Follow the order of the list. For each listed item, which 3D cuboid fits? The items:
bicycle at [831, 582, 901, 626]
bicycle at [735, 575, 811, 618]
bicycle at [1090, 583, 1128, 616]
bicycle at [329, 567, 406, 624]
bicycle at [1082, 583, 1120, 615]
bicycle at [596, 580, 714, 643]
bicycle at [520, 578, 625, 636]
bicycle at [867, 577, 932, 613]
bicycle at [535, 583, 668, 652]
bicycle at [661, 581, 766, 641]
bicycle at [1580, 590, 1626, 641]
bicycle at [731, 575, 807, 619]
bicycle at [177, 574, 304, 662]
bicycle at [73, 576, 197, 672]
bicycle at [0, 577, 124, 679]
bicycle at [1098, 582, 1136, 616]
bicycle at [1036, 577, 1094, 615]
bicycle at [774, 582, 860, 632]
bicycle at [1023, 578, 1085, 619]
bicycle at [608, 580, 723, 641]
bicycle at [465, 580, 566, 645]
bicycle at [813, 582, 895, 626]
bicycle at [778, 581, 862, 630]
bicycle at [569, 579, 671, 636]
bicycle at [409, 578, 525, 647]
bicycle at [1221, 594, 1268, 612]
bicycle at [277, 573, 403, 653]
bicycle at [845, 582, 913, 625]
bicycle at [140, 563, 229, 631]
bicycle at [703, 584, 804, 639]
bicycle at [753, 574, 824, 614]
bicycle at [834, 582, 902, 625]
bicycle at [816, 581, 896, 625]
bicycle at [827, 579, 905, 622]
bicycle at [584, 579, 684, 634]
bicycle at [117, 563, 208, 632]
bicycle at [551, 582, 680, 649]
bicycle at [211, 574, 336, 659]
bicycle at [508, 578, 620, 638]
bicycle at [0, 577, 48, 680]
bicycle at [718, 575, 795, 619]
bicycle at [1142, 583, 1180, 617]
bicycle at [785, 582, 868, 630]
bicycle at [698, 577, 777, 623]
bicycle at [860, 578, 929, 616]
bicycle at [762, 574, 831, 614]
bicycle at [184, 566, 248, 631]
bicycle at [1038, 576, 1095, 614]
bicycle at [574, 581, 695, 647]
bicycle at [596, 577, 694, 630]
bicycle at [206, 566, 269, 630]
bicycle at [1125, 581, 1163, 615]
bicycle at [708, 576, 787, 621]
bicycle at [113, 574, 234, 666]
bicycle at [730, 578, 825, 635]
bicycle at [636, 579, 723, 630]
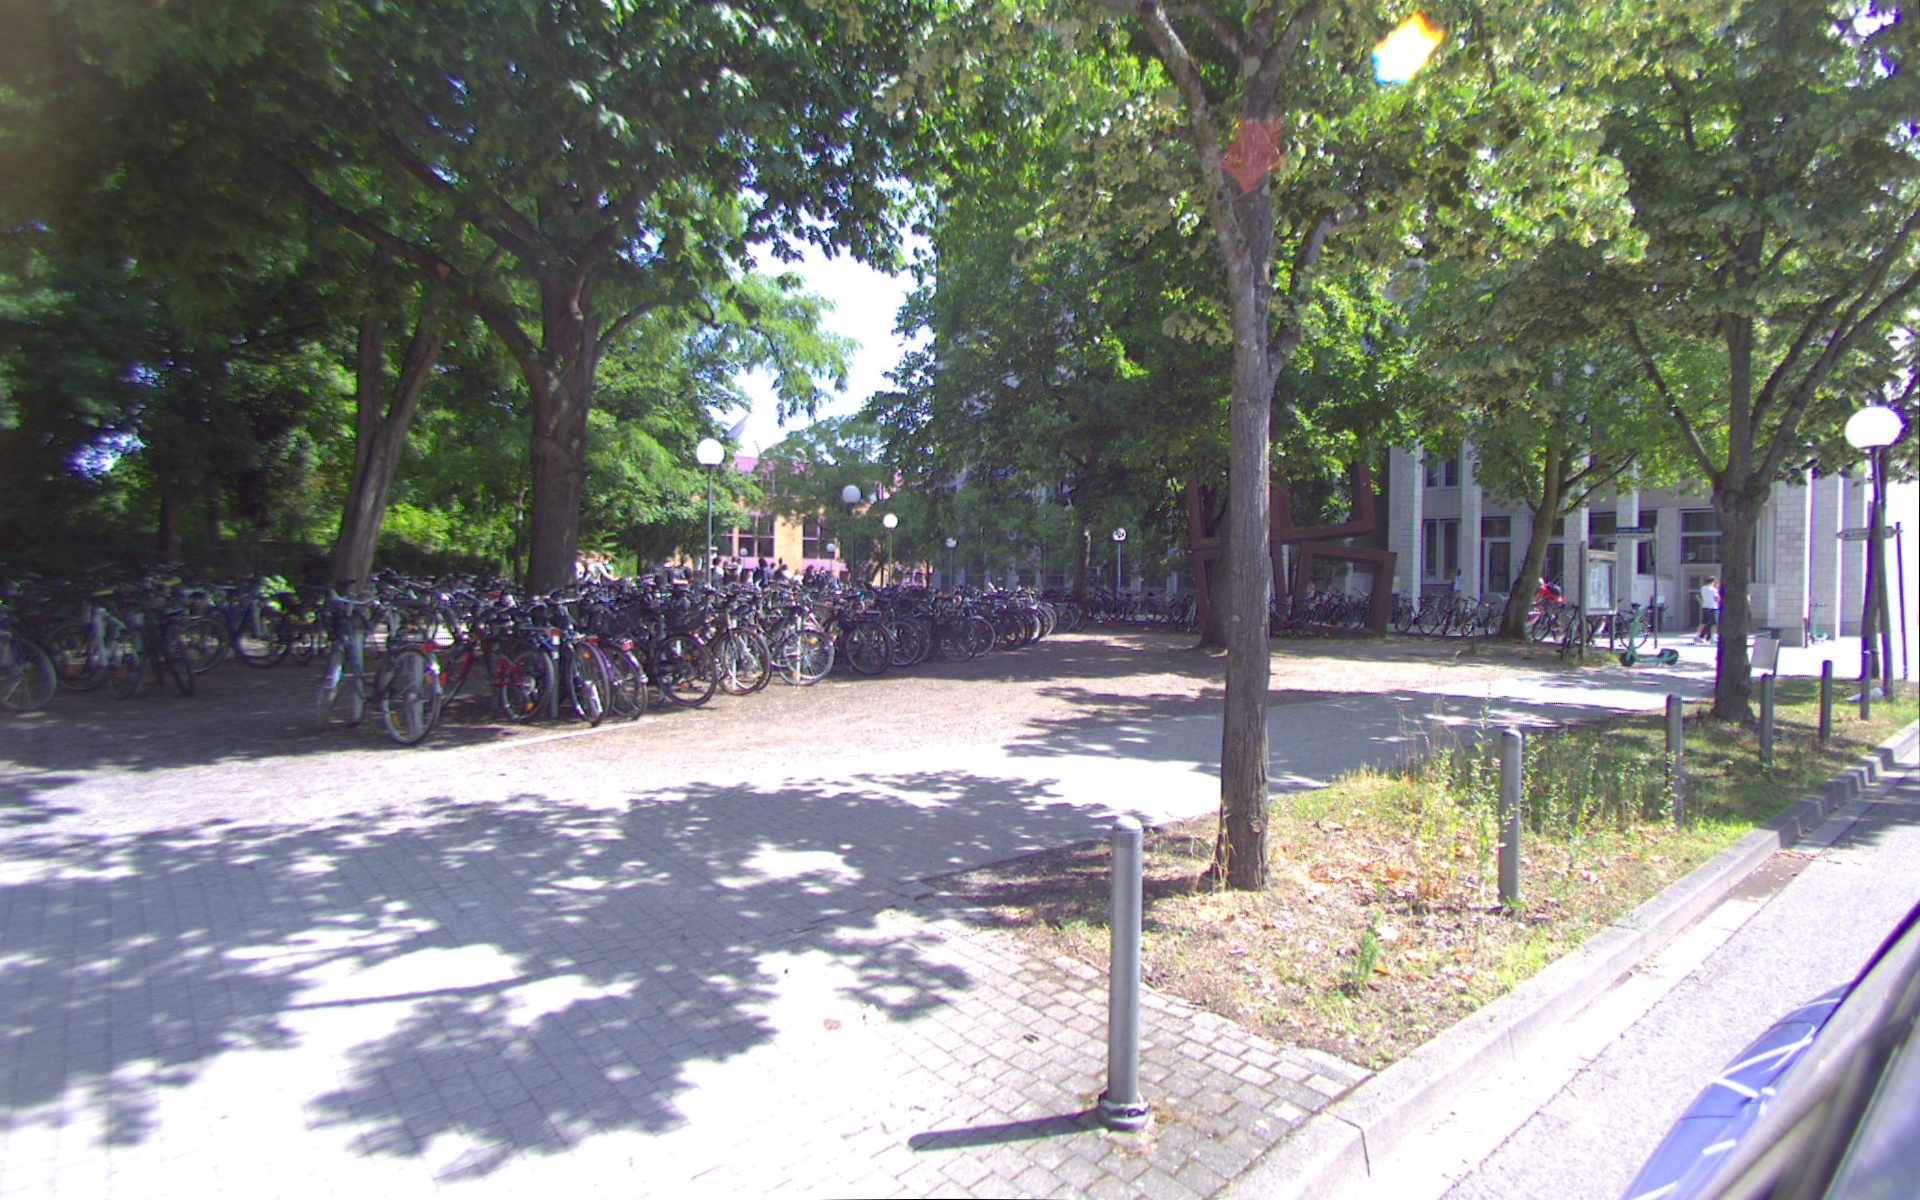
[{"bbox_3d":[-2.388,0.096,25.764,1.714,1.035,0.477,2,2,9],"label":"bicycle"},{"bbox_3d":[-4.708,-0.097,25.424,1.880,0.991,0.475,2,2,20],"label":"bicycle"},{"bbox_3d":[5.356,-0.003,36.320,0.453,1.144,1.661,-2,-2,44],"label":"bicycle"},{"bbox_3d":[-12.263,-0.106,20.946,1.592,1.107,0.475,2,2,21],"label":"bicycle"},{"bbox_3d":[5.130,-0.022,36.837,0.477,1.144,1.661,-2,-2,44],"label":"bicycle"},{"bbox_3d":[-5.147,0.189,17.105,1.872,0.991,0.477,2,2,8],"label":"bicycle"},{"bbox_3d":[-7.064,0.120,18.443,1.873,0.991,0.377,2,2,11],"label":"bicycle"},{"bbox_3d":[-1.776,-0.155,29.727,1.868,0.991,0.479,1,2,1],"label":"bicycle"},{"bbox_3d":[-5.450,0.258,15.422,1.868,0.991,0.478,1,2,1],"label":"bicycle"},{"bbox_3d":[-4.459,0.190,18.295,1.880,0.991,0.475,2,2,20],"label":"bicycle"},{"bbox_3d":[15.579,0.353,24.500,1.465,1.155,0.560,-1,3,-44],"label":"bicycle"},{"bbox_3d":[-4.691,-0.082,24.833,1.880,0.991,0.376,2,2,20],"label":"bicycle"},{"bbox_3d":[-8.988,0.193,12.617,1.885,0.991,0.474,2,2,27],"label":"bicycle"},{"bbox_3d":[-9.459,0.243,11.585,1.886,0.991,0.417,2,2,28],"label":"bicycle"},{"bbox_3d":[-9.922,0.274,11.055,1.884,0.991,0.474,2,2,25],"label":"bicycle"},{"bbox_3d":[5.573,-0.020,35.822,0.453,1.144,1.661,-2,-2,44],"label":"bicycle"},{"bbox_3d":[3.368,-0.139,32.487,1.816,1.185,0.412,1,1,11],"label":"bicycle"},{"bbox_3d":[-3.110,0.139,21.976,1.880,0.991,0.376,2,2,20],"label":"bicycle"},{"bbox_3d":[2.808,-0.054,30.240,1.816,1.185,0.412,1,1,11],"label":"bicycle"},{"bbox_3d":[-5.092,0.172,17.502,1.872,0.991,0.477,2,2,8],"label":"bicycle"},{"bbox_3d":[-7.448,0.184,16.923,1.885,0.991,0.438,2,2,26],"label":"bicycle"},{"bbox_3d":[-2.471,0.089,23.721,1.867,0.991,0.379,1,2,0],"label":"bicycle"},{"bbox_3d":[-3.115,0.114,22.418,1.880,0.991,0.376,2,2,20],"label":"bicycle"},{"bbox_3d":[-6.407,0.128,19.079,1.873,0.991,0.377,2,2,11],"label":"bicycle"},{"bbox_3d":[-7.816,0.181,16.021,1.880,0.991,0.475,2,2,20],"label":"bicycle"},{"bbox_3d":[13.275,0.147,47.255,1.981,0.769,0.634,3,1,40],"label":"bicycle"},{"bbox_3d":[-8.528,0.154,13.895,1.886,0.991,0.607,2,2,28],"label":"bicycle"},{"bbox_3d":[-2.110,0.083,26.395,1.714,1.035,0.477,2,2,9],"label":"bicycle"},{"bbox_3d":[-13.531,-0.074,17.646,1.734,1.107,0.475,2,2,24],"label":"bicycle"},{"bbox_3d":[-3.991,0.212,19.559,1.873,0.991,0.477,2,2,11],"label":"bicycle"},{"bbox_3d":[-4.504,-0.166,26.590,1.880,0.991,0.376,2,2,20],"label":"bicycle"},{"bbox_3d":[-2.374,0.080,26.138,1.714,1.035,0.292,2,2,9],"label":"bicycle"},{"bbox_3d":[-2.481,0.066,24.171,1.867,0.991,0.379,1,2,0],"label":"bicycle"},{"bbox_3d":[-2.319,0.006,25.004,1.868,0.991,0.378,1,2,2],"label":"bicycle"},{"bbox_3d":[-6.269,0.111,19.473,1.873,0.991,0.377,2,2,11],"label":"bicycle"},{"bbox_3d":[-13.661,-0.065,17.325,1.734,1.107,0.475,2,2,24],"label":"bicycle"},{"bbox_3d":[-5.436,0.237,15.998,1.868,0.991,0.478,1,2,1],"label":"bicycle"},{"bbox_3d":[-8.787,0.185,12.932,1.885,0.991,0.474,2,2,27],"label":"bicycle"},{"bbox_3d":[-7.035,0.136,17.977,1.873,0.991,0.477,2,2,11],"label":"bicycle"},{"bbox_3d":[-10.265,0.251,10.504,1.881,0.991,0.418,2,2,22],"label":"bicycle"},{"bbox_3d":[-4.930,-0.081,24.487,1.880,0.991,0.376,2,2,20],"label":"bicycle"},{"bbox_3d":[6.902,0.001,34.752,0.453,1.144,1.661,-2,-2,44],"label":"bicycle"},{"bbox_3d":[-3.003,0.120,22.730,1.880,0.991,0.376,2,2,20],"label":"bicycle"},{"bbox_3d":[-5.135,-0.013,23.336,1.880,0.991,0.376,2,2,20],"label":"bicycle"},{"bbox_3d":[-1.837,-0.094,28.496,1.874,0.991,0.477,2,2,12],"label":"bicycle"},{"bbox_3d":[-4.368,-0.168,26.988,1.880,0.991,0.376,2,2,20],"label":"bicycle"},{"bbox_3d":[-13.523,-0.049,18.377,1.598,1.107,0.344,3,2,31],"label":"bicycle"},{"bbox_3d":[3.485,-0.170,33.195,1.816,1.185,0.412,1,1,11],"label":"bicycle"},{"bbox_3d":[-5.336,0.219,16.602,1.872,0.991,0.477,2,2,9],"label":"bicycle"},{"bbox_3d":[-6.300,0.055,20.241,1.874,0.991,0.477,2,2,11],"label":"bicycle"},{"bbox_3d":[-13.348,-0.055,18.688,1.598,1.107,0.344,3,2,31],"label":"bicycle"},{"bbox_3d":[6.396,-0.043,35.062,0.453,1.144,1.661,-2,-2,44],"label":"bicycle"},{"bbox_3d":[-4.989,-0.045,23.741,1.880,0.991,0.376,2,2,20],"label":"bicycle"},{"bbox_3d":[-9.399,0.206,12.072,1.886,0.991,0.417,2,2,28],"label":"bicycle"},{"bbox_3d":[-3.730,0.120,20.732,1.875,1.096,0.477,2,2,14],"label":"bicycle"},{"bbox_3d":[-5.938,0.089,21.393,1.880,0.991,0.376,2,2,20],"label":"bicycle"}]
